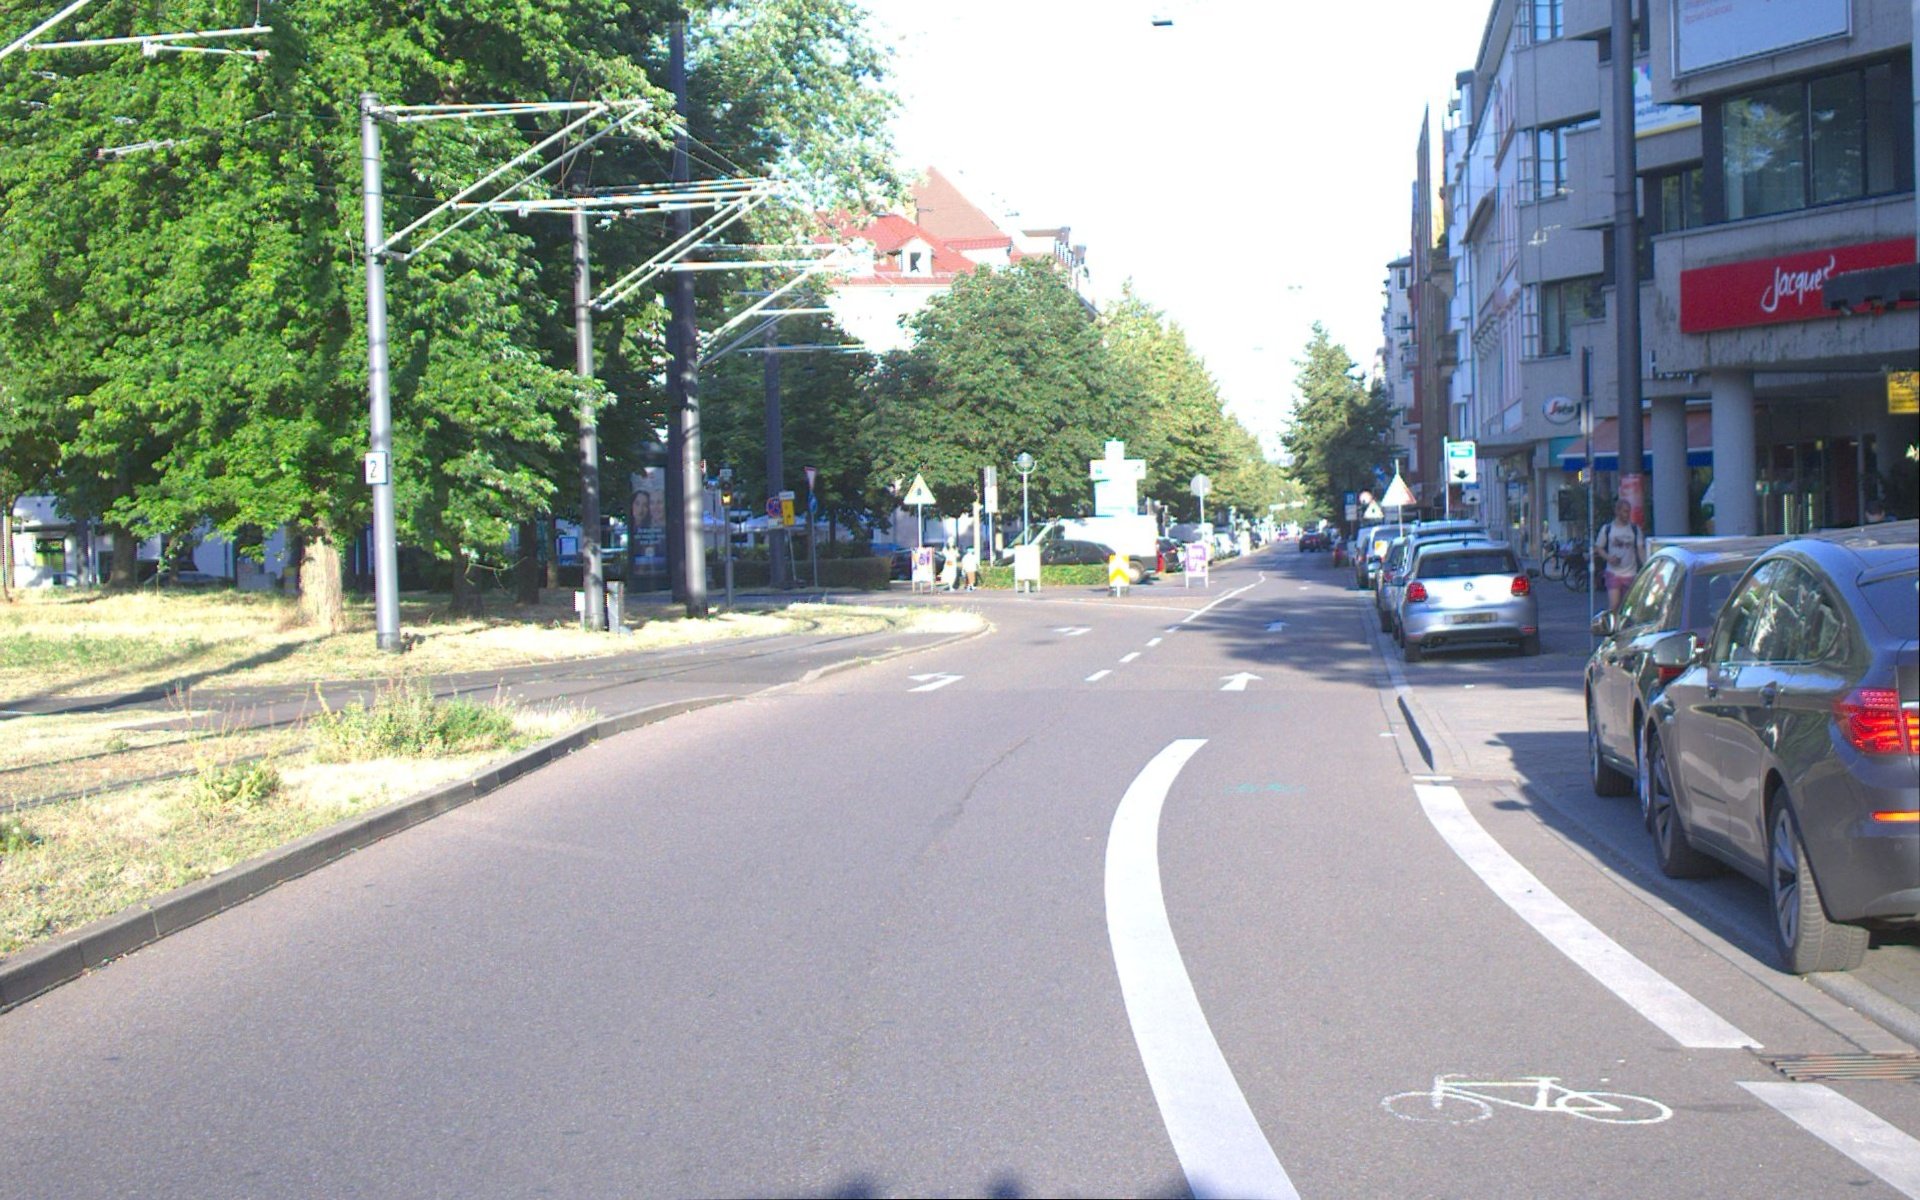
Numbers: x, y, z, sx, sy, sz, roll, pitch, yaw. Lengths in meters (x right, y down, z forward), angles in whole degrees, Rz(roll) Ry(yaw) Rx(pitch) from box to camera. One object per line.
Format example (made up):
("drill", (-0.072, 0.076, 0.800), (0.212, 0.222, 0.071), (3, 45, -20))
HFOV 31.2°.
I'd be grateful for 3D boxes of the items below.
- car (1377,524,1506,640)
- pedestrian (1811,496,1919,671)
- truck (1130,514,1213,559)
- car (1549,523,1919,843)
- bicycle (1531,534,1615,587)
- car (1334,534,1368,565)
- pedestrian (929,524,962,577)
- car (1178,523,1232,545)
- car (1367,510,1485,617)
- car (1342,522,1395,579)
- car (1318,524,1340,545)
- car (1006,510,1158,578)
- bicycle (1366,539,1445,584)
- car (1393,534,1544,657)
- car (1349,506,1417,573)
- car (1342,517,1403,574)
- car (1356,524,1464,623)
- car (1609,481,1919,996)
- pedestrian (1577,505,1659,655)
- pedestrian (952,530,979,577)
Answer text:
("car", (6.786, -0.283, 48.736), (1.585, 1.585, 3.667), (0, 1, 4))
("pedestrian", (8.609, -0.165, 32.671), (0.638, 1.621, 0.857), (-2, 1, -17))
("truck", (12.970, -3.885, 210.838), (4.942, 2.606, 2.000), (-1, 0, 6))
("car", (4.202, 0.356, 18.565), (1.651, 1.529, 4.066), (0, 1, 5))
("bicycle", (12.942, -0.841, 72.536), (1.886, 1.001, 0.458), (-4, 1, -32))
("car", (21.269, -2.739, 187.226), (1.577, 1.537, 3.396), (-3, 0, 3))
("pedestrian", (-0.428, -1.446, 100.036), (0.697, 1.553, 0.695), (-1, 1, -29))
("car", (17.350, -4.685, 243.406), (3.740, 1.487, 2.000), (-1, 1, 6))
("car", (8.124, -0.666, 60.192), (1.784, 1.798, 4.401), (0, 1, 4))
("car", (13.601, -1.667, 114.428), (1.710, 1.828, 4.305), (0, 1, 7))
("car", (23.555, -4.152, 219.319), (1.206, 1.296, 2.660), (0, 0, 3))
("car", (4.070, -1.862, 114.877), (4.597, 2.243, 2.204), (0, 1, -20))
("bicycle", (10.974, -0.940, 84.628), (1.790, 0.986, 0.541), (-3, 2, 29))
("car", (6.418, -0.082, 43.622), (1.785, 1.451, 3.999), (-1, 1, 8))
("car", (11.873, -1.689, 96.560), (1.793, 1.785, 4.091), (-1, 1, 6))
("car", (12.222, -1.627, 101.988), (1.657, 1.659, 4.107), (0, 1, 5))
("car", (7.161, -0.450, 54.929), (1.641, 1.523, 3.999), (0, 1, 6))
("car", (3.799, 0.384, 13.473), (1.804, 1.664, 4.813), (0, 1, 3))
("pedestrian", (7.878, -0.247, 41.182), (0.638, 1.780, 0.857), (-1, 1, -17))
("pedestrian", (0.163, -1.370, 100.406), (0.562, 1.359, 0.614), (-1, 1, -31))
